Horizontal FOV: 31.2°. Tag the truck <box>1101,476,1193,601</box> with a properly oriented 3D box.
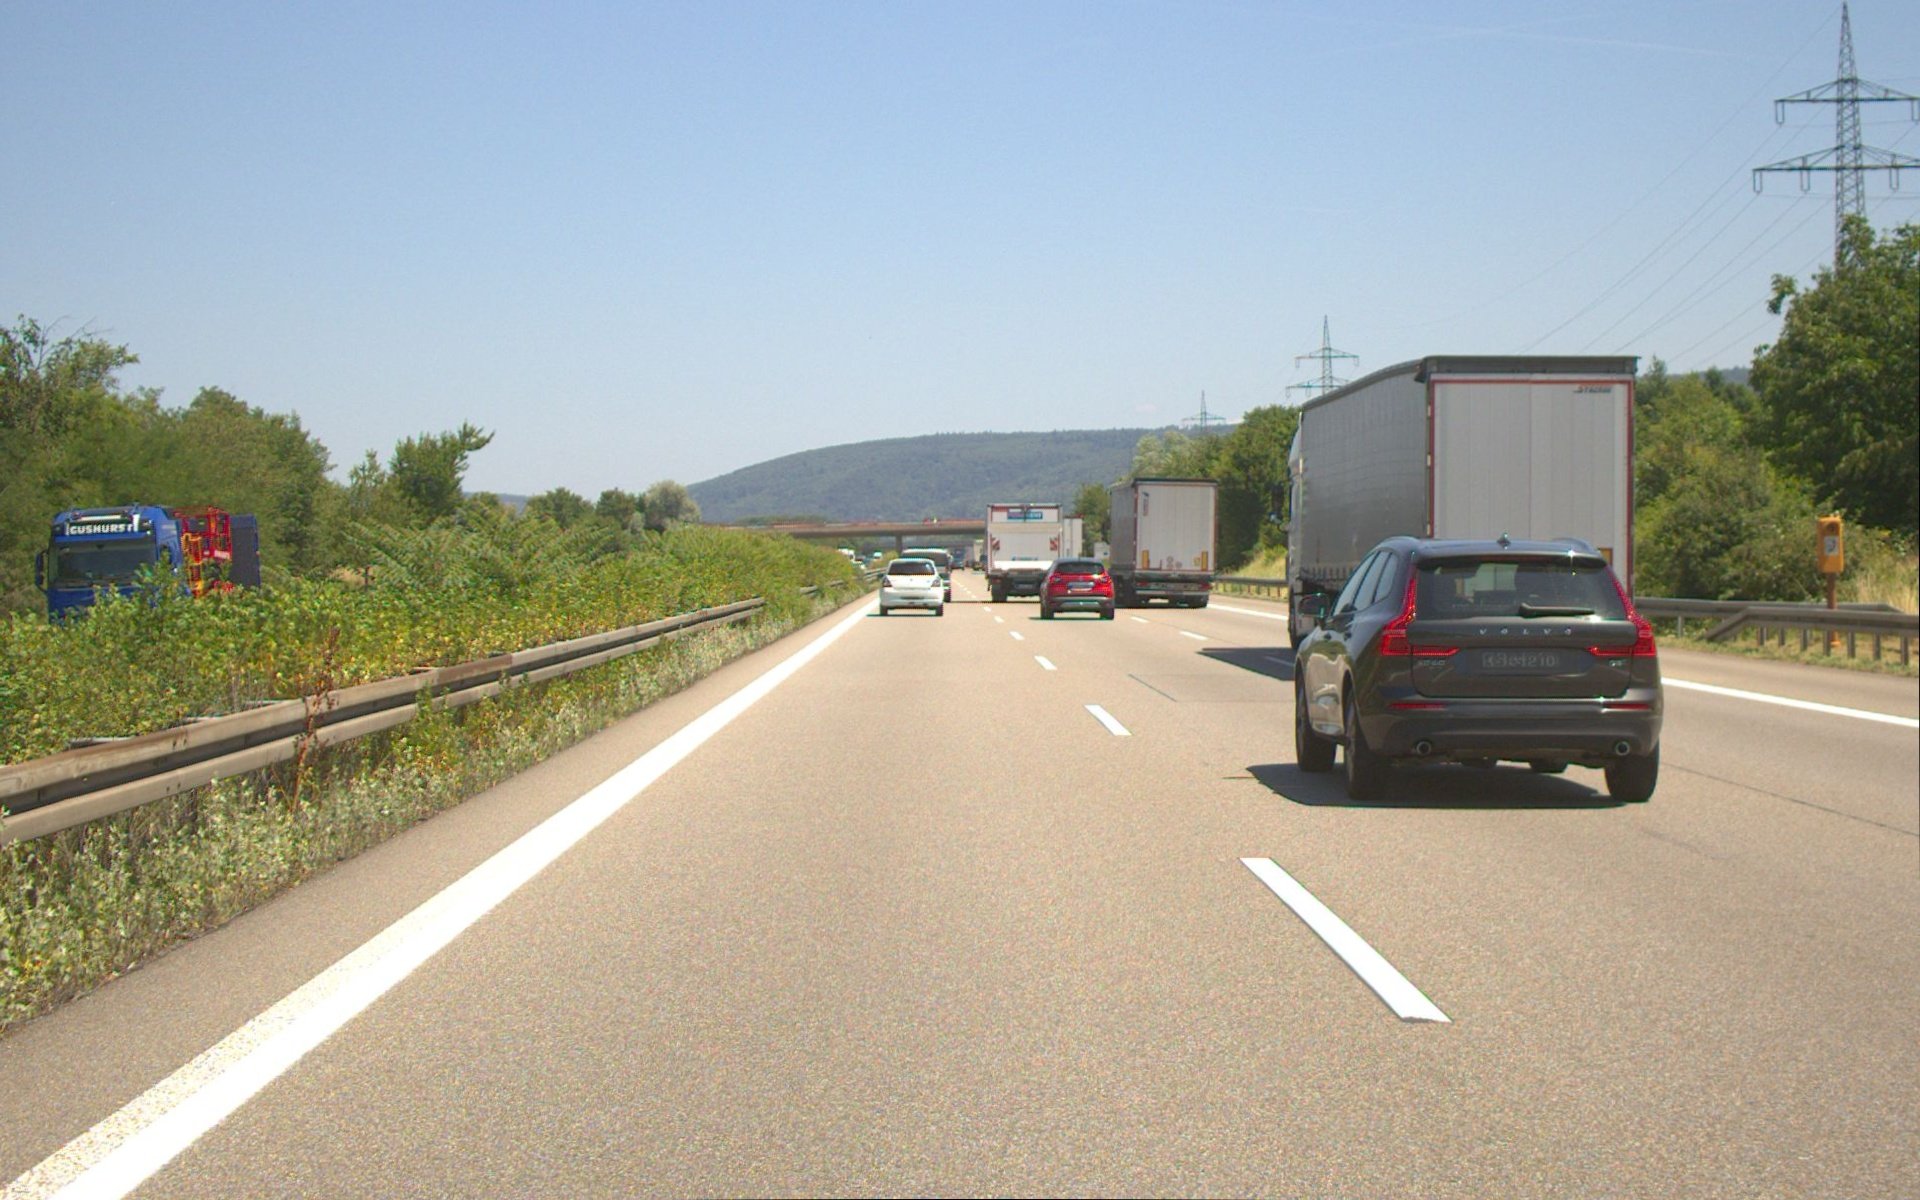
[{"bbox_3d":[6.410,-2.086,118.437,2.795,4.149,5.722,-1,1,0],"label":"truck"}]

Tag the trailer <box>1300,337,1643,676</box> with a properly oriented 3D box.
[{"bbox_3d":[6.834,-1.210,48.171,2.736,4.092,13.123,0,1,0],"label":"trailer"}]

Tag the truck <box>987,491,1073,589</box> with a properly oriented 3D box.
[{"bbox_3d":[2.432,-2.088,122.081,2.782,3.361,8.128,0,0,-1],"label":"truck"}]

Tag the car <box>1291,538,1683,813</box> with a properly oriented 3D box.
[{"bbox_3d":[3.305,0.418,22.299,1.873,1.618,4.004,0,1,-1],"label":"car"}]

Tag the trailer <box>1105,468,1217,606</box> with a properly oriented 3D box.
[{"bbox_3d":[6.411,-2.003,111.733,2.789,4.149,13.574,-1,1,0],"label":"trailer"}]

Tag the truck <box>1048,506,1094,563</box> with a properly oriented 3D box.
[{"bbox_3d":[6.383,-3.786,199.103,2.221,3.198,10.385,-1,1,0],"label":"truck"}]

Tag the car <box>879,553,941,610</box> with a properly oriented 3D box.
[{"bbox_3d":[-1.333,-0.517,91.629,1.607,1.462,4.000,0,1,-1],"label":"car"}]

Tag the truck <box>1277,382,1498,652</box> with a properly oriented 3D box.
[{"bbox_3d":[6.786,-1.299,55.337,2.736,4.105,6.125,0,1,0],"label":"truck"}]

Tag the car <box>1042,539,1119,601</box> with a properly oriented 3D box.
[{"bbox_3d":[3.036,-0.774,87.251,1.803,1.540,4.000,0,1,0],"label":"car"}]
